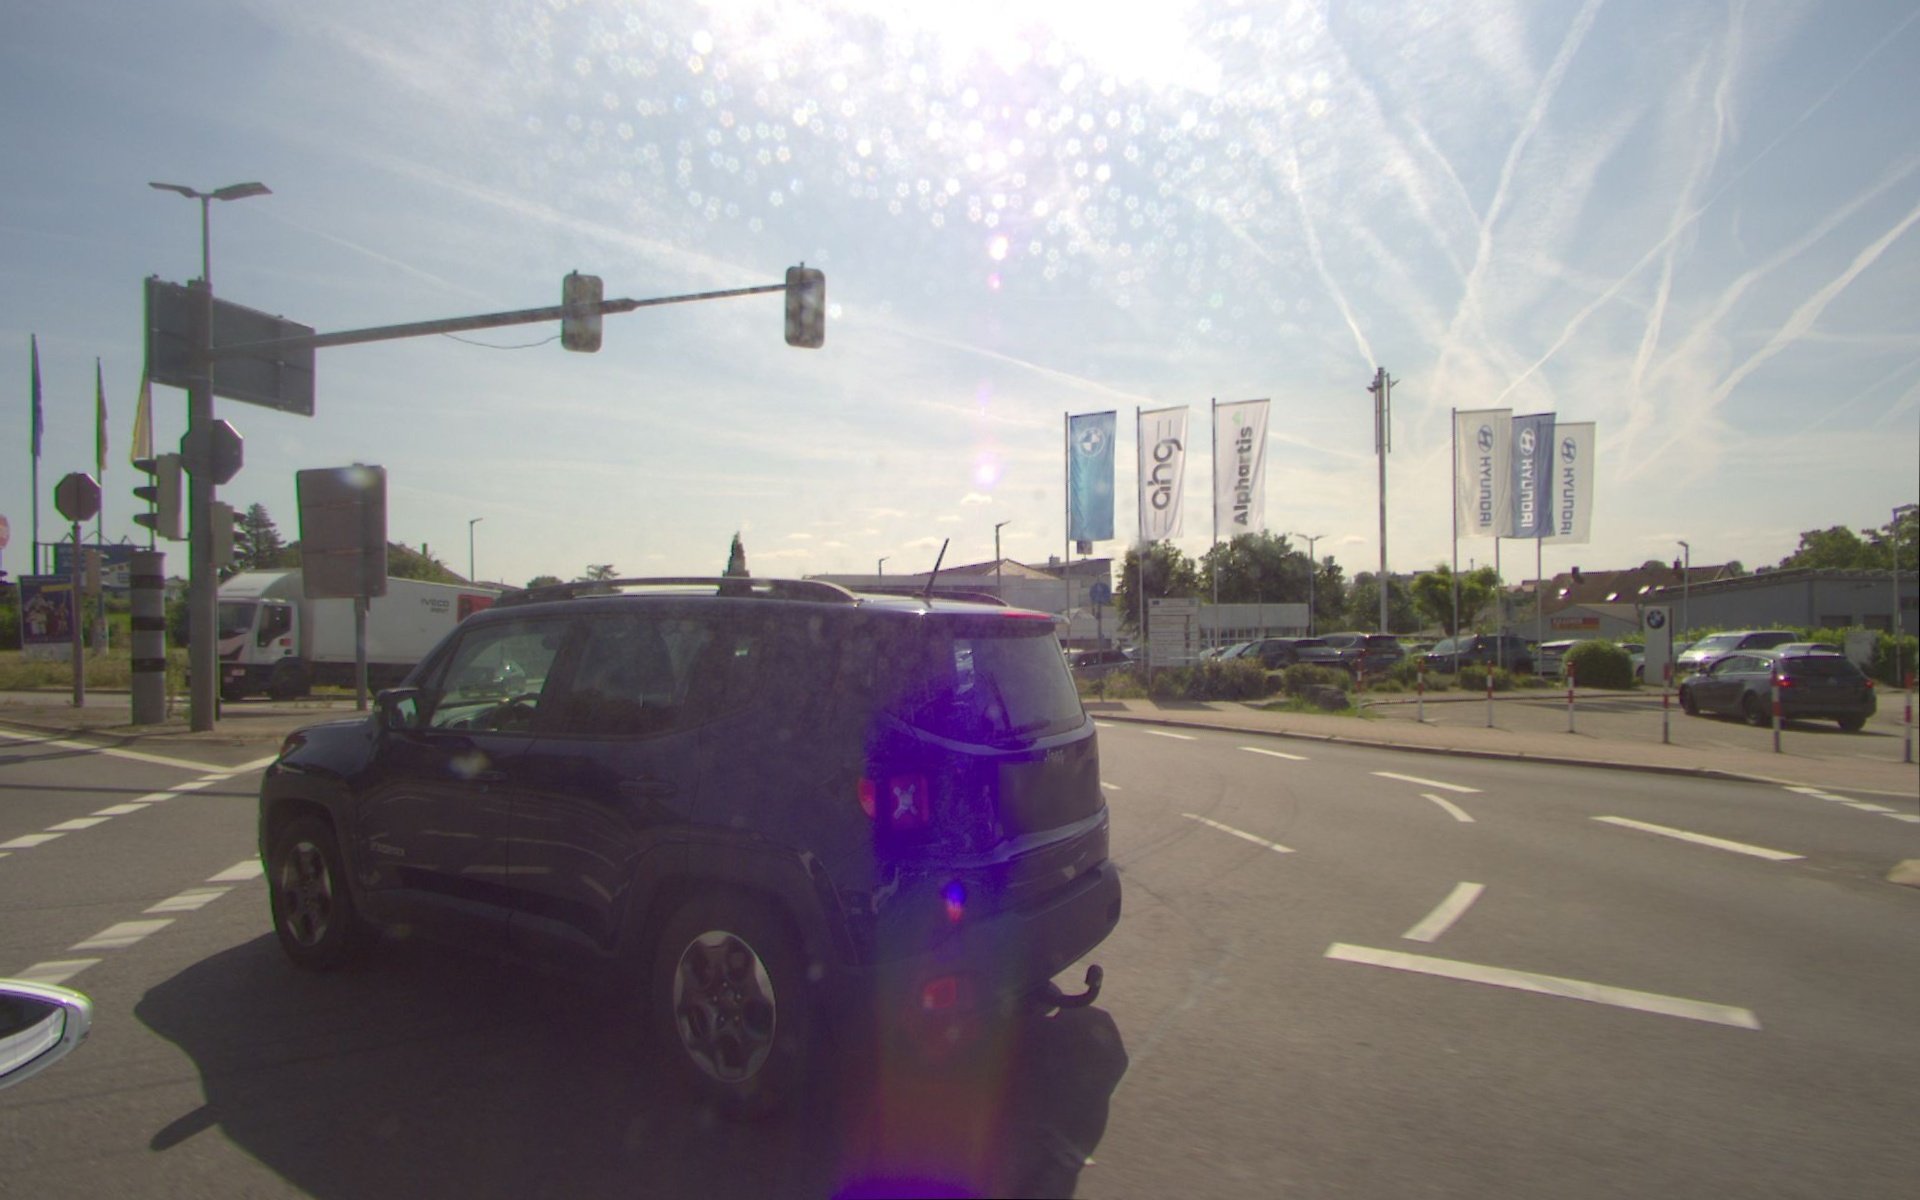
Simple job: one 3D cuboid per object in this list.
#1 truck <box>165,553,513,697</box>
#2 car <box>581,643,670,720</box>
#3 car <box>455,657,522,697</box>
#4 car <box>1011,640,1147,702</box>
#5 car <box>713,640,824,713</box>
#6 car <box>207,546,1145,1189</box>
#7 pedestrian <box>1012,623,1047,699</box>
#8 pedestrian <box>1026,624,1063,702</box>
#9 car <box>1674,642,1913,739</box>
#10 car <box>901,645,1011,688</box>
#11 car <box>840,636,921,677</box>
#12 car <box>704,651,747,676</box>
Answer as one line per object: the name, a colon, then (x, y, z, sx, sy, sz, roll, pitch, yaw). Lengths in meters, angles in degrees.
truck: (-18.152, 1.080, 30.522, 2.716, 3.670, 9.706, -1, -5, 15)
car: (-7.302, 1.737, 21.900, 1.681, 1.522, 3.750, 1, -3, -18)
car: (-19.331, 3.124, 41.225, 1.965, 1.478, 4.314, -1, -2, -19)
car: (3.863, 2.269, 32.581, 3.932, 1.746, 1.995, -1, 0, -21)
car: (-4.602, 1.751, 23.491, 1.965, 1.523, 4.994, 1, -3, -18)
car: (-1.376, 0.722, 4.400, 3.942, 1.676, 1.767, -1, 0, 32)
pedestrian: (1.915, 1.656, 27.531, 0.653, 2.040, 0.876, 0, -1, -21)
pedestrian: (2.247, 1.648, 26.637, 0.653, 2.040, 0.876, 0, -1, -21)
car: (16.384, 1.698, 20.027, 1.963, 1.540, 4.444, -1, 0, 15)
car: (-0.171, 2.908, 44.470, 4.403, 1.639, 2.084, -1, 0, -25)
car: (-4.445, 3.127, 55.958, 4.016, 2.062, 2.061, -1, 0, -25)
car: (-15.935, 4.278, 68.041, 1.970, 1.595, 3.985, 2, -3, -26)
